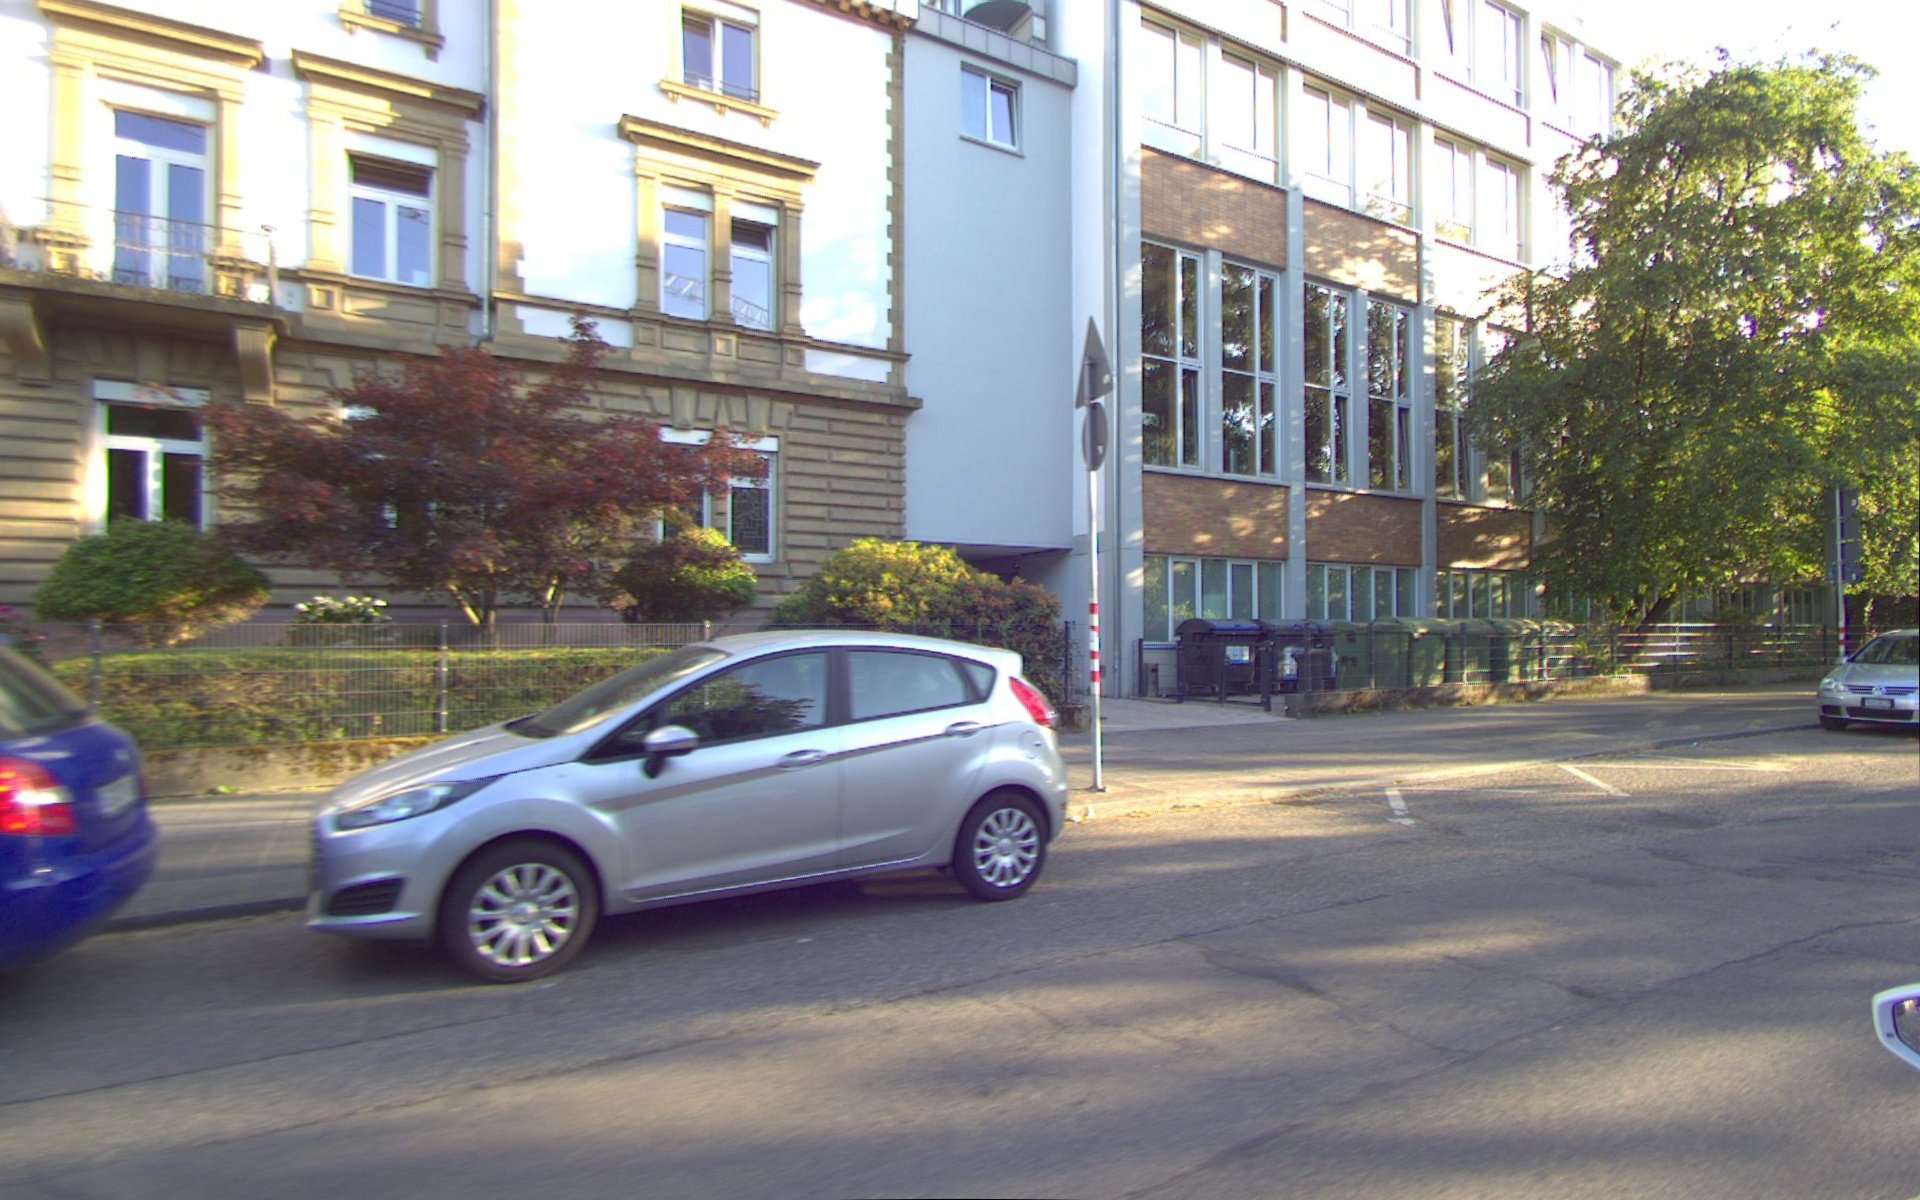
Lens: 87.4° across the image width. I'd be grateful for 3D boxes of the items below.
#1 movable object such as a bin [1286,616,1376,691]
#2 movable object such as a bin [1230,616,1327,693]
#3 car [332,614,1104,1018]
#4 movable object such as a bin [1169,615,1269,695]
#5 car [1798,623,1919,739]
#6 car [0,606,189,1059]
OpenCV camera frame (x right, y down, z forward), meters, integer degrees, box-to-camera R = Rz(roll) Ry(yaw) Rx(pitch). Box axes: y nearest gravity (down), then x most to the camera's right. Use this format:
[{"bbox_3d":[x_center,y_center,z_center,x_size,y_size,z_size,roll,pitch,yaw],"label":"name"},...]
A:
[{"bbox_3d":[7.472,1.058,20.266,1.354,1.449,1.095,0,-1,-27],"label":"movable object such as a bin"},{"bbox_3d":[6.202,1.033,19.601,1.466,1.449,1.095,0,-1,-27],"label":"movable object such as a bin"},{"bbox_3d":[-1.185,0.866,5.472,3.728,1.513,1.593,0,-3,-31],"label":"car"},{"bbox_3d":[4.874,1.007,18.916,1.499,1.449,1.095,0,-1,-27],"label":"movable object such as a bin"},{"bbox_3d":[14.005,1.080,14.455,4.012,1.513,1.663,0,-2,-30],"label":"car"},{"bbox_3d":[-5.064,0.817,3.329,3.740,1.527,1.592,0,-2,-28],"label":"car"}]
